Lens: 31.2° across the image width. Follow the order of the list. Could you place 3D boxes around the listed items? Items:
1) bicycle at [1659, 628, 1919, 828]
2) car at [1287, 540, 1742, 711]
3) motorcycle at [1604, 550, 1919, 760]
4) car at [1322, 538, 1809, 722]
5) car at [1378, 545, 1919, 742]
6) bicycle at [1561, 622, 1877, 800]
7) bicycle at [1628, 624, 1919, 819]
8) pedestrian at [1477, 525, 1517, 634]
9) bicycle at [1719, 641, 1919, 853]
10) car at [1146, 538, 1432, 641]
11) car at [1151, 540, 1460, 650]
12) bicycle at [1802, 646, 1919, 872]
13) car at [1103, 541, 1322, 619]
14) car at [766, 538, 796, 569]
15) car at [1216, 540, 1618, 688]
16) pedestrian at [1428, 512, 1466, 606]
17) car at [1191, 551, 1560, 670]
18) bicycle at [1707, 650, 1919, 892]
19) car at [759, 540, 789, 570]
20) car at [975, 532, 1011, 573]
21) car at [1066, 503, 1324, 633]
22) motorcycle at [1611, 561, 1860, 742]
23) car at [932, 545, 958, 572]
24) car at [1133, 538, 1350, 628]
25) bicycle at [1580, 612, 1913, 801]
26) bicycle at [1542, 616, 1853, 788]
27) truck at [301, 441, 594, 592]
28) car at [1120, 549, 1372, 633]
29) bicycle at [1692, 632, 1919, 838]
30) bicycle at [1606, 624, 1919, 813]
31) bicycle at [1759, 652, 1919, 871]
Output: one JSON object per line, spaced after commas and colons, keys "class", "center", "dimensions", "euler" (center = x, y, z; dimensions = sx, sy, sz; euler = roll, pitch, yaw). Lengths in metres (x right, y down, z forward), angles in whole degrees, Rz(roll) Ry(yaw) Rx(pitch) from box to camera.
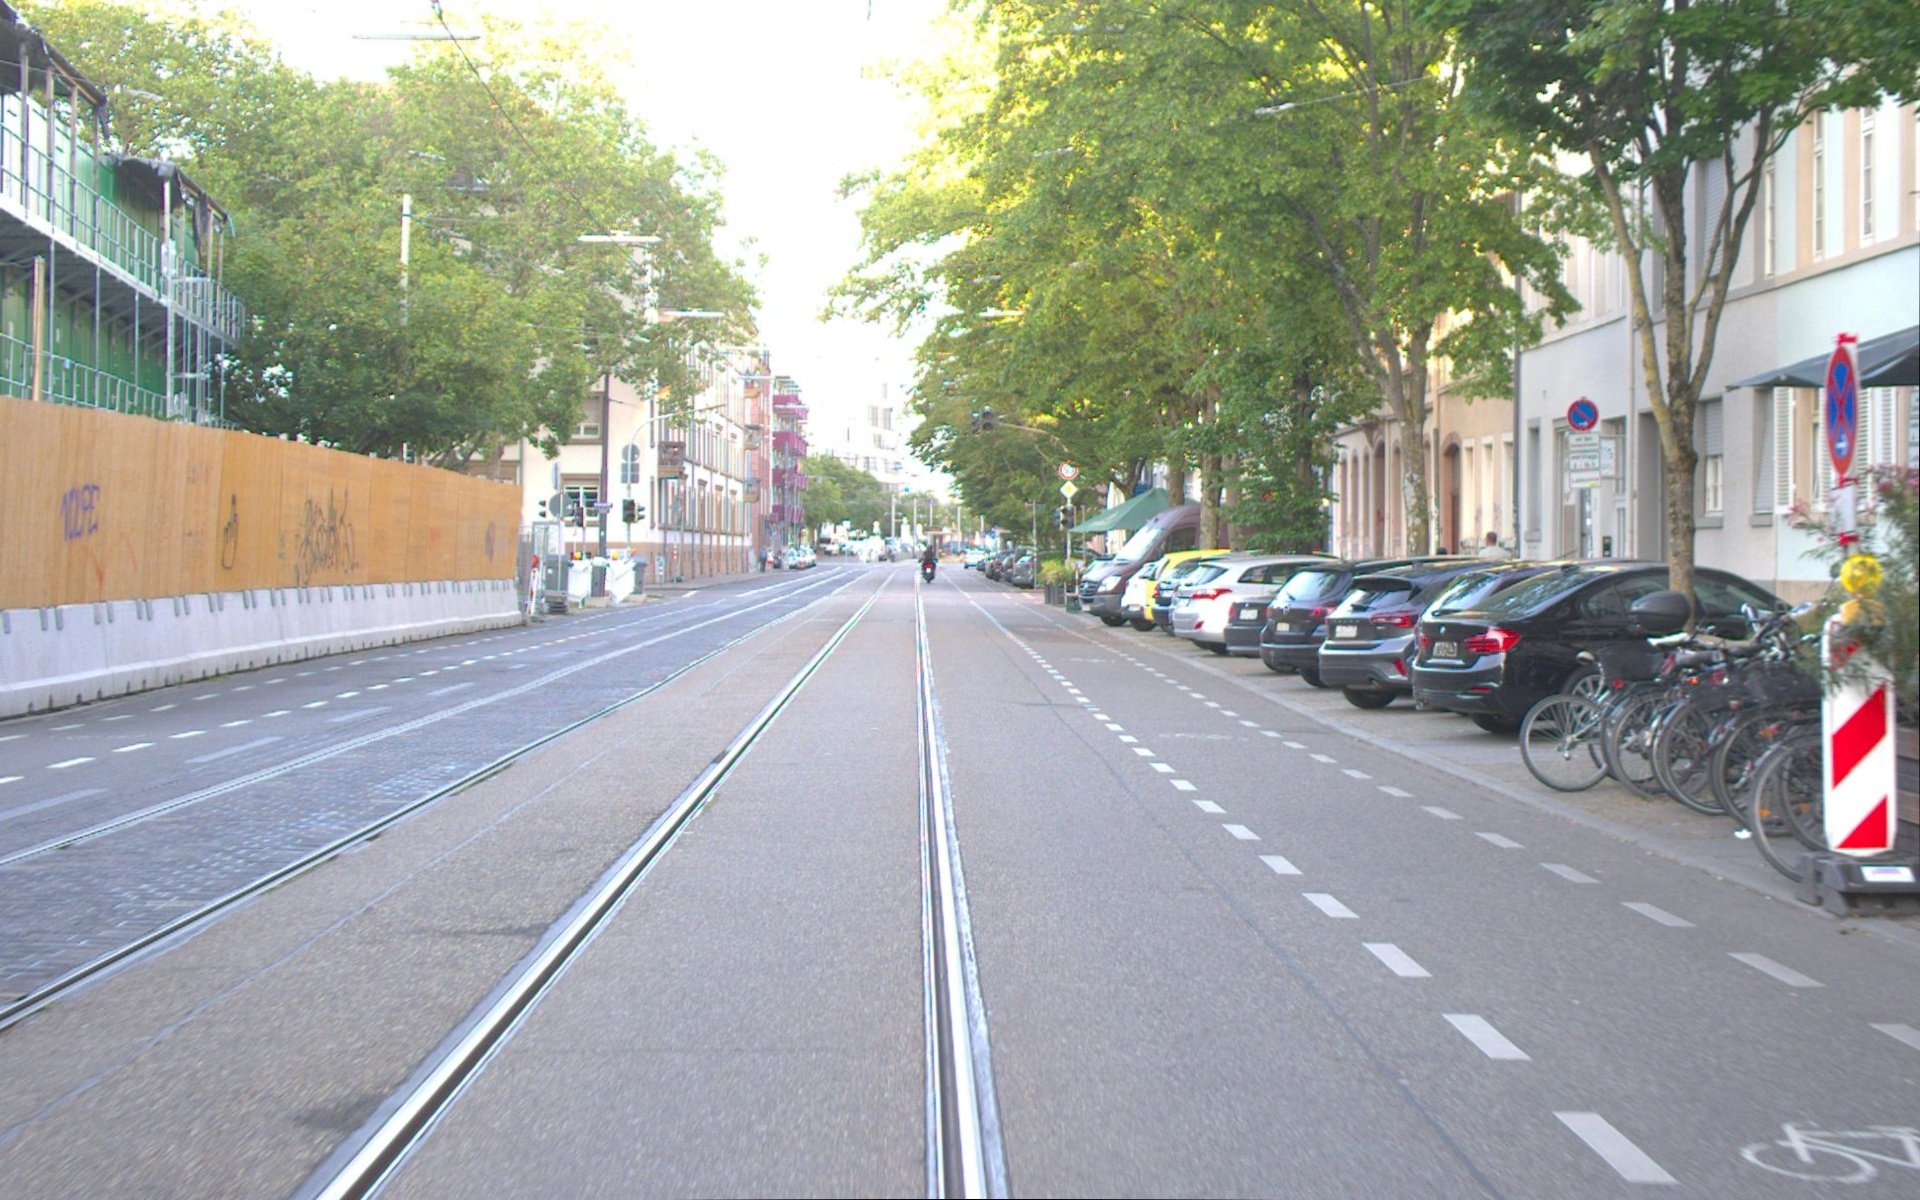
{"class": "bicycle", "center": [4.977, 0.705, 19.427], "dimensions": [1.886, 1.028, 0.608], "euler": [-3, 1, -2]}
{"class": "car", "center": [5.584, 0.225, 34.659], "dimensions": [4.115, 1.465, 1.824], "euler": [-3, 1, -20]}
{"class": "motorcycle", "center": [5.997, 0.392, 25.439], "dimensions": [2.222, 1.456, 0.968], "euler": [-2, 1, -2]}
{"class": "car", "center": [5.635, 0.247, 32.145], "dimensions": [3.948, 1.465, 2.002], "euler": [-3, 1, -17]}
{"class": "car", "center": [5.896, 0.334, 29.514], "dimensions": [4.160, 1.421, 1.824], "euler": [-3, 1, -19]}
{"class": "bicycle", "center": [4.905, 0.711, 22.259], "dimensions": [1.863, 1.028, 0.591], "euler": [-3, 1, -3]}
{"class": "bicycle", "center": [4.950, 0.700, 20.201], "dimensions": [1.886, 1.028, 0.608], "euler": [-3, 1, -2]}
{"class": "pedestrian", "center": [8.941, -0.342, 57.236], "dimensions": [0.565, 1.808, 0.607], "euler": [0, 1, 0]}
{"class": "bicycle", "center": [5.033, 0.744, 18.107], "dimensions": [1.886, 1.028, 0.608], "euler": [-3, 1, -2]}
{"class": "car", "center": [5.385, -0.179, 56.260], "dimensions": [4.249, 1.555, 1.898], "euler": [-1, 0, -23]}
{"class": "car", "center": [5.232, -0.088, 52.277], "dimensions": [4.249, 1.543, 2.020], "euler": [-1, 1, -11]}
{"class": "bicycle", "center": [5.079, 0.729, 16.621], "dimensions": [1.815, 1.028, 0.608], "euler": [-3, 1, -2]}
{"class": "car", "center": [5.110, -0.402, 69.539], "dimensions": [3.949, 1.481, 1.921], "euler": [-1, 0, -24]}
{"class": "car", "center": [-12.840, -3.341, 246.524], "dimensions": [1.898, 2.171, 4.000], "euler": [1, 1, -1]}
{"class": "car", "center": [5.280, 0.137, 39.721], "dimensions": [4.115, 1.465, 2.016], "euler": [-3, 1, -25]}
{"class": "pedestrian", "center": [8.138, -0.682, 57.497], "dimensions": [0.538, 1.563, 0.813], "euler": [0, 1, 2]}
{"class": "car", "center": [5.336, 0.110, 44.195], "dimensions": [4.249, 1.387, 2.016], "euler": [-1, 1, -24]}
{"class": "bicycle", "center": [4.367, 0.760, 15.839], "dimensions": [1.678, 1.028, 0.557], "euler": [-3, 1, -2]}
{"class": "car", "center": [-13.048, -3.162, 241.879], "dimensions": [1.898, 2.007, 4.000], "euler": [1, 1, -1]}
{"class": "car", "center": [1.668, -2.418, 174.580], "dimensions": [1.721, 2.007, 4.000], "euler": [1, 1, -1]}
{"class": "car", "center": [5.067, -0.697, 74.216], "dimensions": [5.093, 2.633, 2.022], "euler": [-2, 1, -17]}
{"class": "motorcycle", "center": [6.023, 0.392, 26.732], "dimensions": [1.786, 1.339, 0.533], "euler": [-2, 1, -2]}
{"class": "car", "center": [-1.119, -3.175, 261.410], "dimensions": [1.898, 2.007, 4.000], "euler": [1, 1, -1]}
{"class": "car", "center": [5.355, -0.328, 65.788], "dimensions": [3.950, 1.614, 1.921], "euler": [-1, 0, 0]}
{"class": "bicycle", "center": [4.932, 0.661, 21.613], "dimensions": [1.886, 1.064, 0.674], "euler": [-3, 1, -2]}
{"class": "bicycle", "center": [4.894, 0.672, 22.865], "dimensions": [1.903, 1.028, 0.533], "euler": [-3, 1, -2]}
{"class": "truck", "center": [-12.953, -2.126, 87.370], "dimensions": [7.056, 3.469, 2.542], "euler": [2, 1, -4]}
{"class": "car", "center": [5.193, -0.170, 62.358], "dimensions": [4.120, 1.420, 1.921], "euler": [-1, 0, -26]}
{"class": "bicycle", "center": [5.029, 0.711, 18.763], "dimensions": [1.886, 1.028, 0.608], "euler": [-3, 1, -2]}
{"class": "bicycle", "center": [4.947, 0.710, 20.859], "dimensions": [1.886, 1.028, 0.608], "euler": [-3, 1, -2]}
{"class": "bicycle", "center": [5.074, 0.779, 17.366], "dimensions": [1.886, 1.028, 0.608], "euler": [-3, 1, -2]}
